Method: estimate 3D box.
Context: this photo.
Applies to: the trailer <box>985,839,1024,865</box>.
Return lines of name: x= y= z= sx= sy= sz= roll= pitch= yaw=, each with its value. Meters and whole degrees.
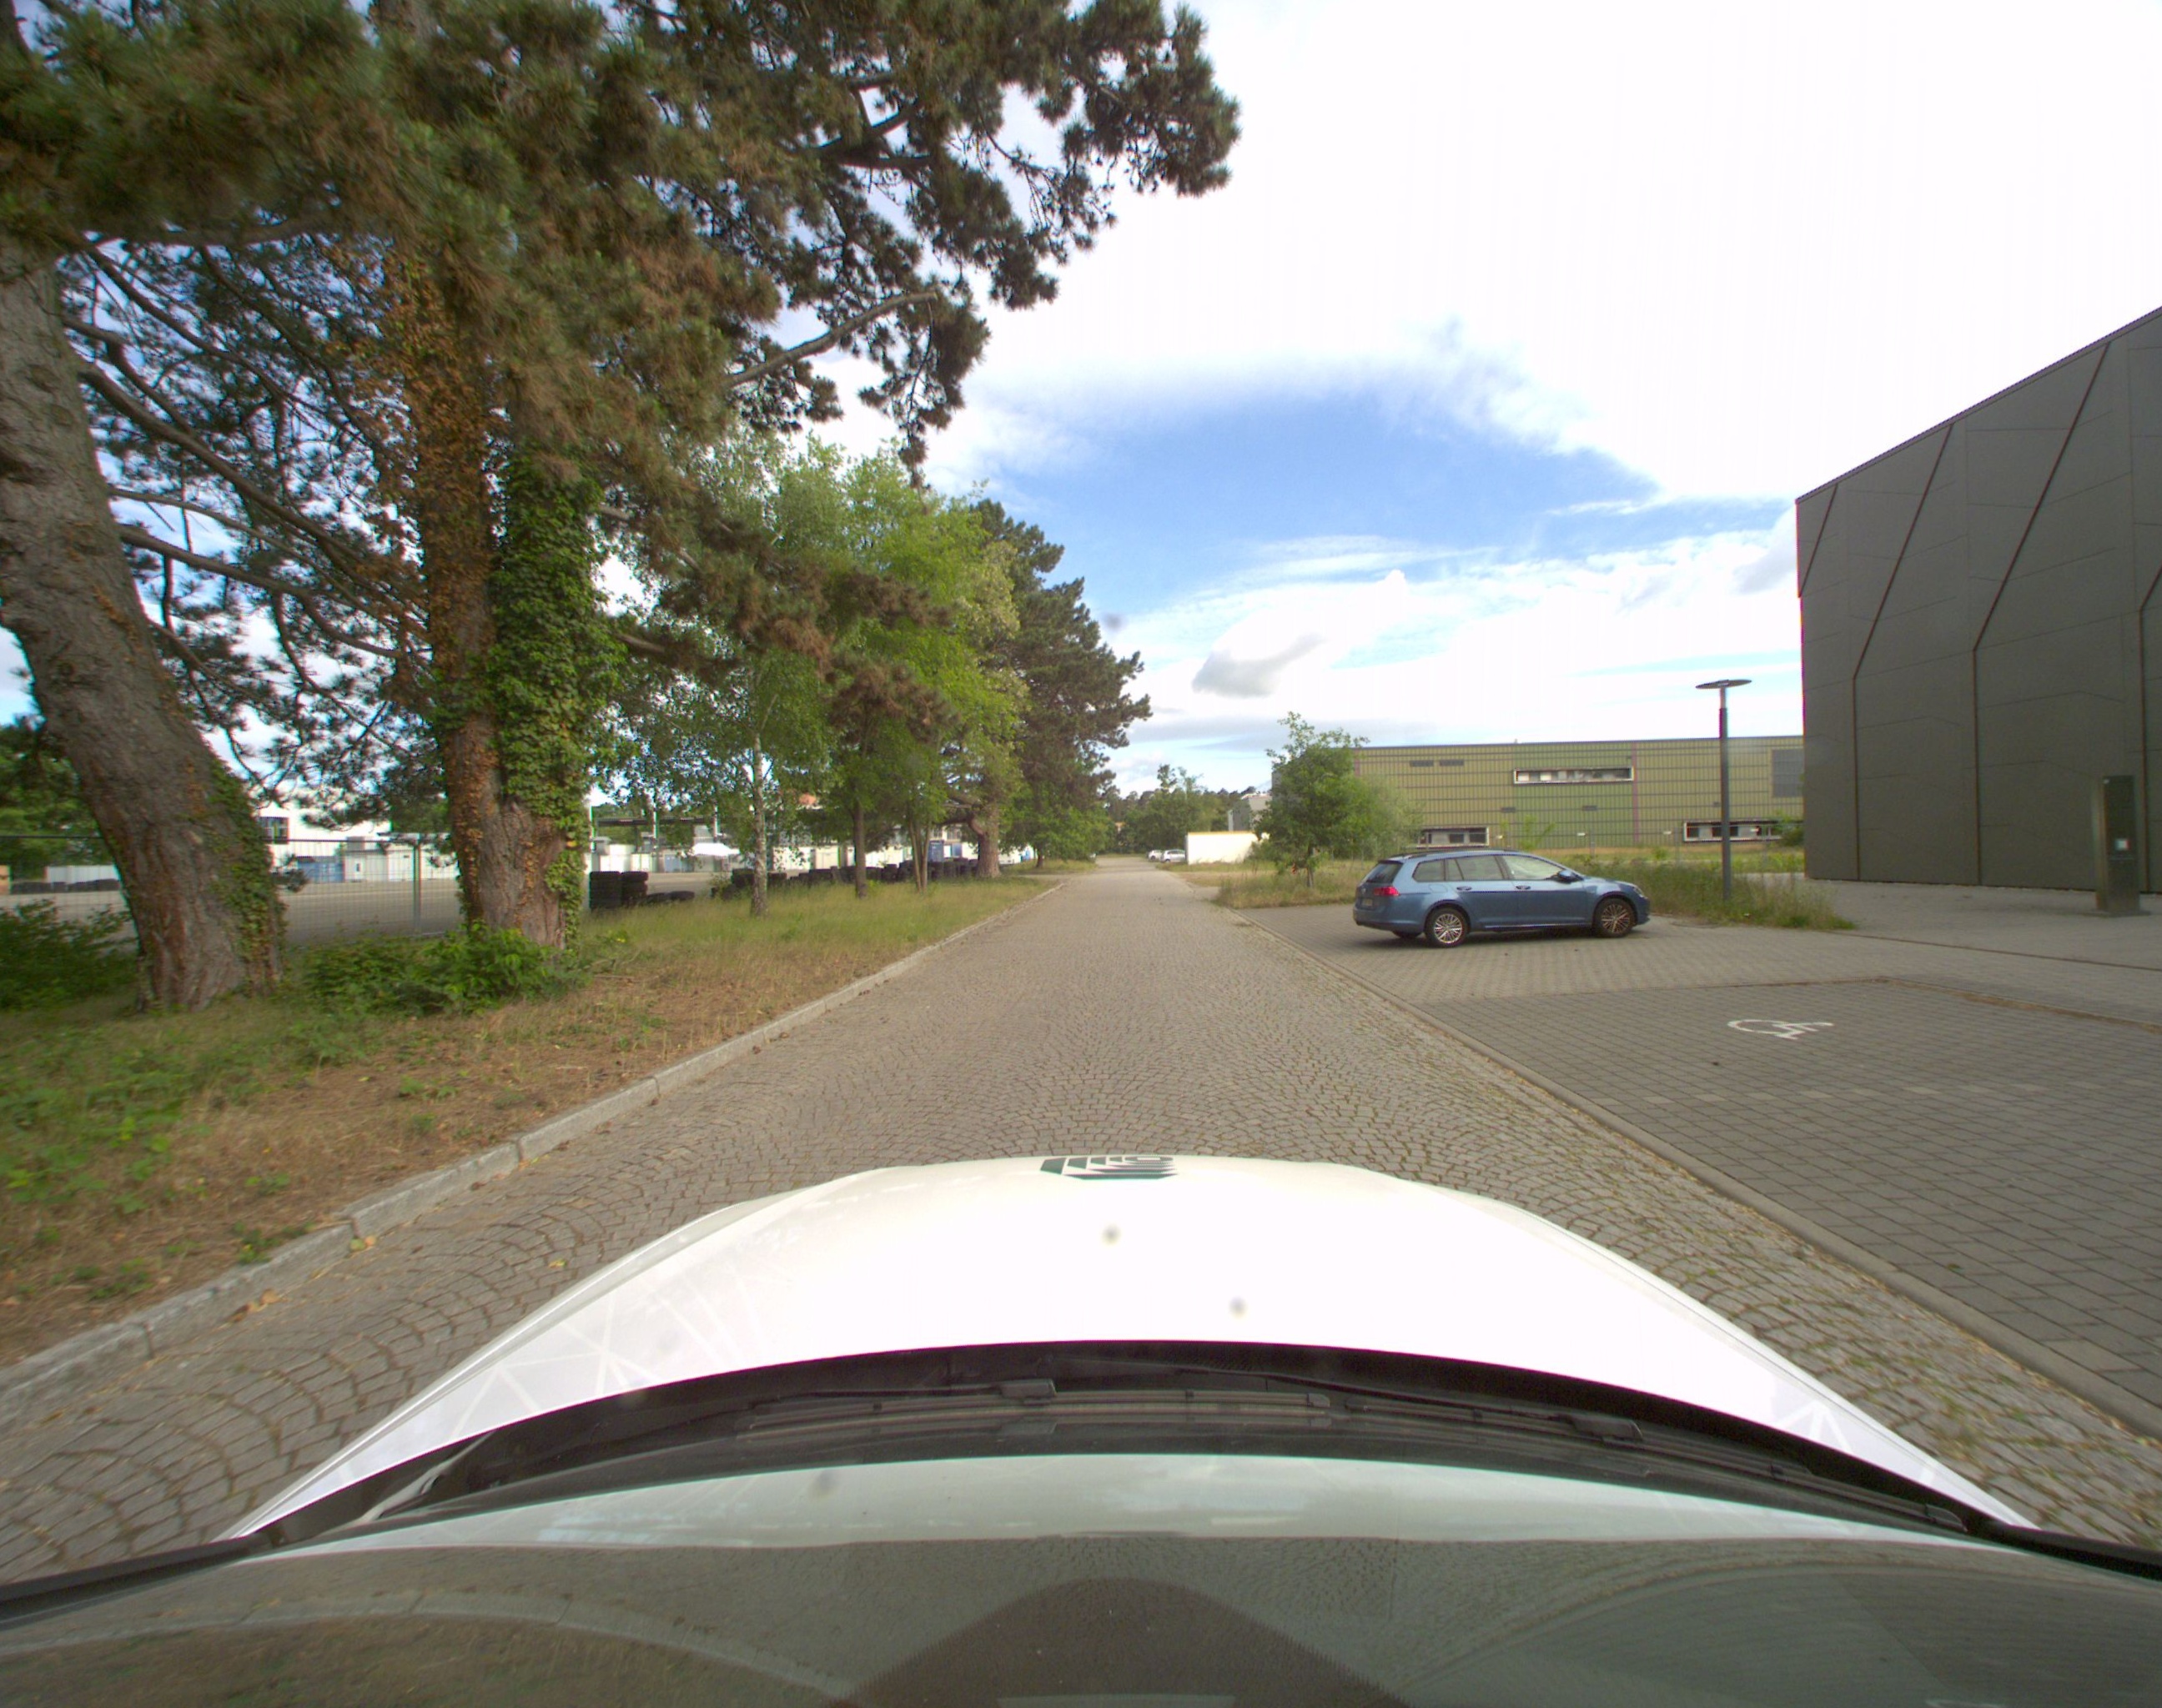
trailer: x=-9.340 y=-0.253 z=100.366 sx=3.144 sy=3.067 sz=8.796 roll=-1 pitch=0 yaw=5

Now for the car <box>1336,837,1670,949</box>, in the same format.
car: x=6.737 y=0.594 z=13.346 sx=4.508 sy=1.443 sz=1.823 roll=-3 pitch=0 yaw=-1

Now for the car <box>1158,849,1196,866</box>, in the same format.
car: x=10.240 y=0.349 z=86.846 sx=3.837 sy=1.654 sz=1.686 roll=-1 pitch=0 yaw=0

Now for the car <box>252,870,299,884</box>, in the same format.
car: x=-97.415 y=2.735 z=98.488 sx=3.952 sy=1.533 sz=1.630 roll=-1 pitch=0 yaw=0

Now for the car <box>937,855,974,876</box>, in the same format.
car: x=-9.662 y=0.871 z=62.864 sx=1.756 sy=1.453 sz=3.497 roll=-1 pitch=0 yaw=9

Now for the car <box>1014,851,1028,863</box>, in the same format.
car: x=-10.422 y=0.456 z=141.148 sx=1.918 sy=2.047 sz=4.601 roll=-1 pitch=0 yaw=1

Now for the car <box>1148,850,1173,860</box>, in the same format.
car: x=12.925 y=0.115 z=132.961 sx=4.007 sy=1.502 sz=1.550 roll=-1 pitch=0 yaw=3
